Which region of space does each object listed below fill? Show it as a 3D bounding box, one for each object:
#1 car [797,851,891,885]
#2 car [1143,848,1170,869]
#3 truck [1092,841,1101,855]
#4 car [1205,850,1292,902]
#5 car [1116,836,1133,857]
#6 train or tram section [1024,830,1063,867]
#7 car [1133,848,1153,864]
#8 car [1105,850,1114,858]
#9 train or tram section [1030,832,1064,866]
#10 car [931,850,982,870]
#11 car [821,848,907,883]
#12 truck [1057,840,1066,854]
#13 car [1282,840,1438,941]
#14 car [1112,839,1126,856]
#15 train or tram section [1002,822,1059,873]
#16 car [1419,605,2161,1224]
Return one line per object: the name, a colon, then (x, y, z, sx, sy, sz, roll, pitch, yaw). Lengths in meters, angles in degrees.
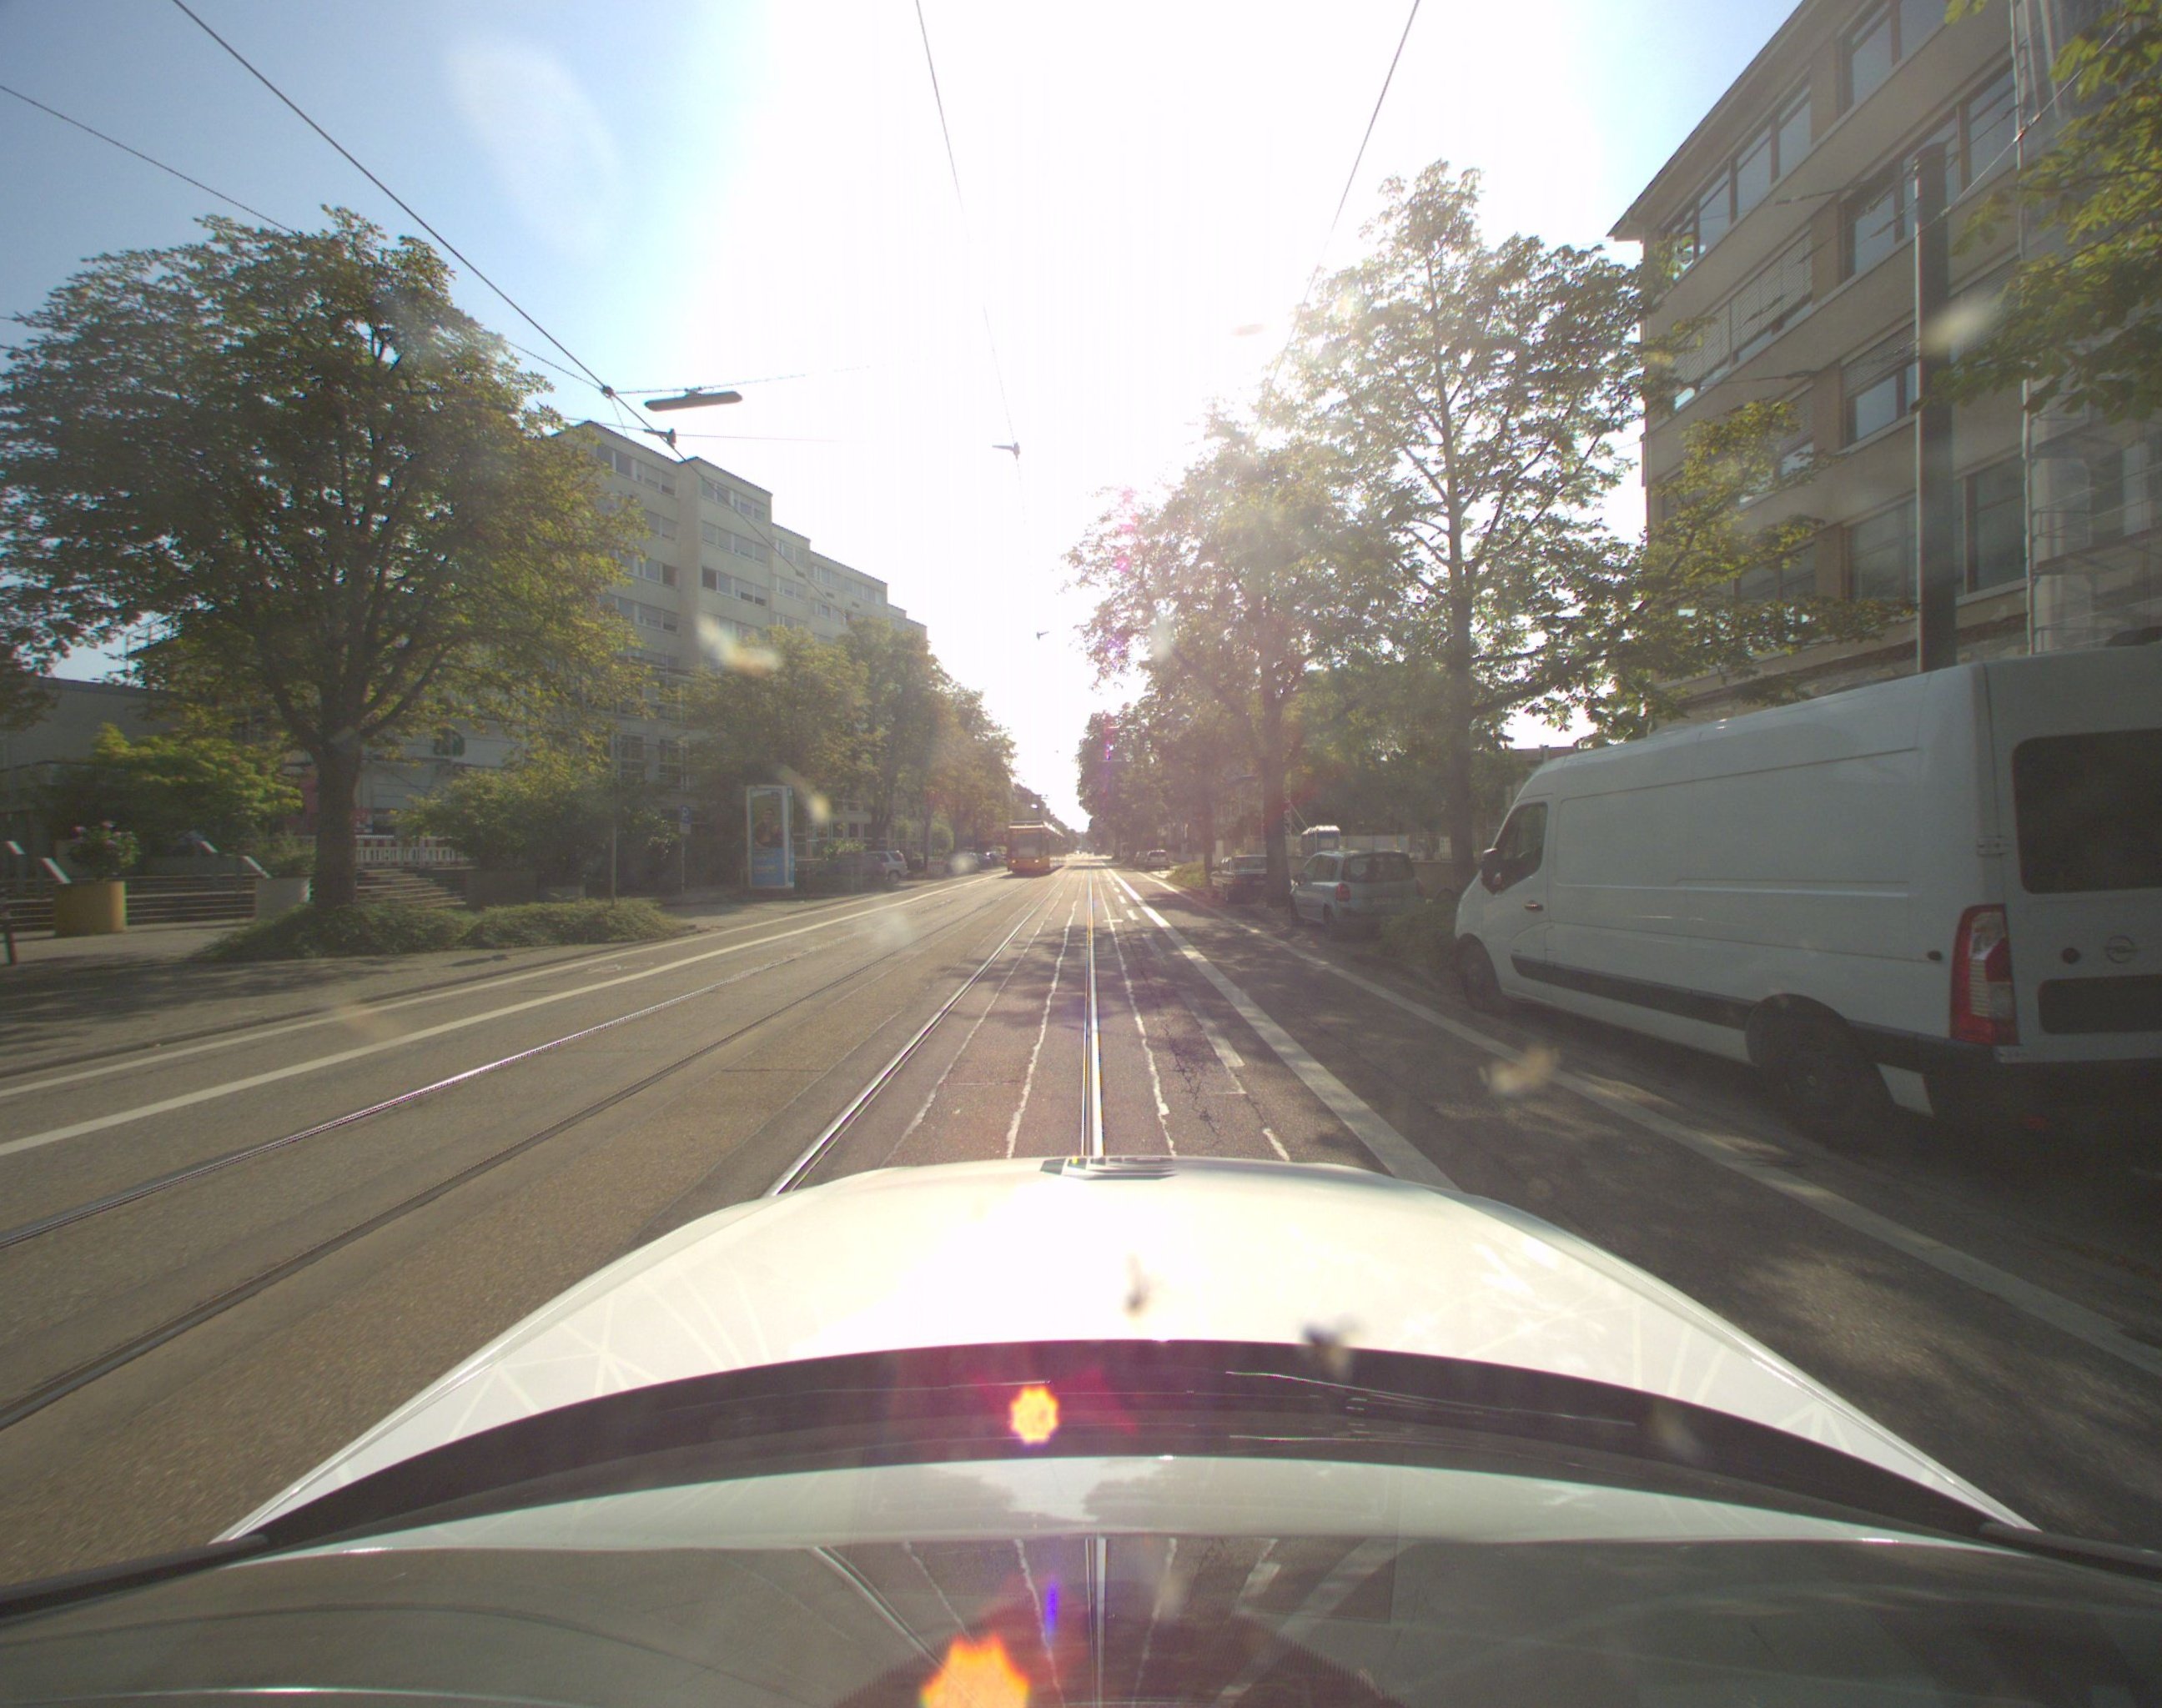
car: (-10.964, 0.637, 37.748, 3.816, 1.442, 1.673, -1, 0, -42)
car: (5.437, 0.328, 58.650, 1.683, 1.418, 3.635, -1, 0, 1)
truck: (3.530, -1.431, 189.218, 1.855, 3.130, 4.350, -1, 0, -1)
car: (5.098, 0.605, 25.370, 1.747, 1.377, 4.719, -3, 0, 1)
car: (5.323, -0.916, 100.554, 1.997, 2.490, 4.478, -1, 0, 1)
train or tram section: (-3.008, -0.429, 66.290, 2.719, 2.849, 6.543, -1, 0, 1)
car: (5.497, 0.172, 72.388, 1.589, 1.418, 3.635, -1, 0, 1)
car: (6.924, -0.080, 198.819, 1.986, 1.838, 4.002, -1, 0, 2)
train or tram section: (-2.933, -0.461, 71.413, 2.697, 2.856, 3.649, -1, 0, 0)
car: (-9.524, 0.446, 62.573, 1.550, 1.443, 3.787, -1, 0, 40)
car: (-10.902, 0.552, 41.093, 3.818, 1.621, 1.722, -1, 0, -44)
truck: (-4.560, -1.626, 189.315, 1.987, 2.975, 4.570, -1, 0, 0)
car: (5.114, 0.572, 15.489, 1.658, 1.616, 3.878, -2, 1, 1)
car: (5.953, -1.011, 127.662, 1.997, 2.475, 4.478, -1, 0, 1)
train or tram section: (-3.152, -0.402, 55.277, 2.719, 2.894, 15.455, -1, 0, 1)
car: (4.868, 0.185, 6.202, 2.076, 2.552, 5.499, -5, 0, -1)
